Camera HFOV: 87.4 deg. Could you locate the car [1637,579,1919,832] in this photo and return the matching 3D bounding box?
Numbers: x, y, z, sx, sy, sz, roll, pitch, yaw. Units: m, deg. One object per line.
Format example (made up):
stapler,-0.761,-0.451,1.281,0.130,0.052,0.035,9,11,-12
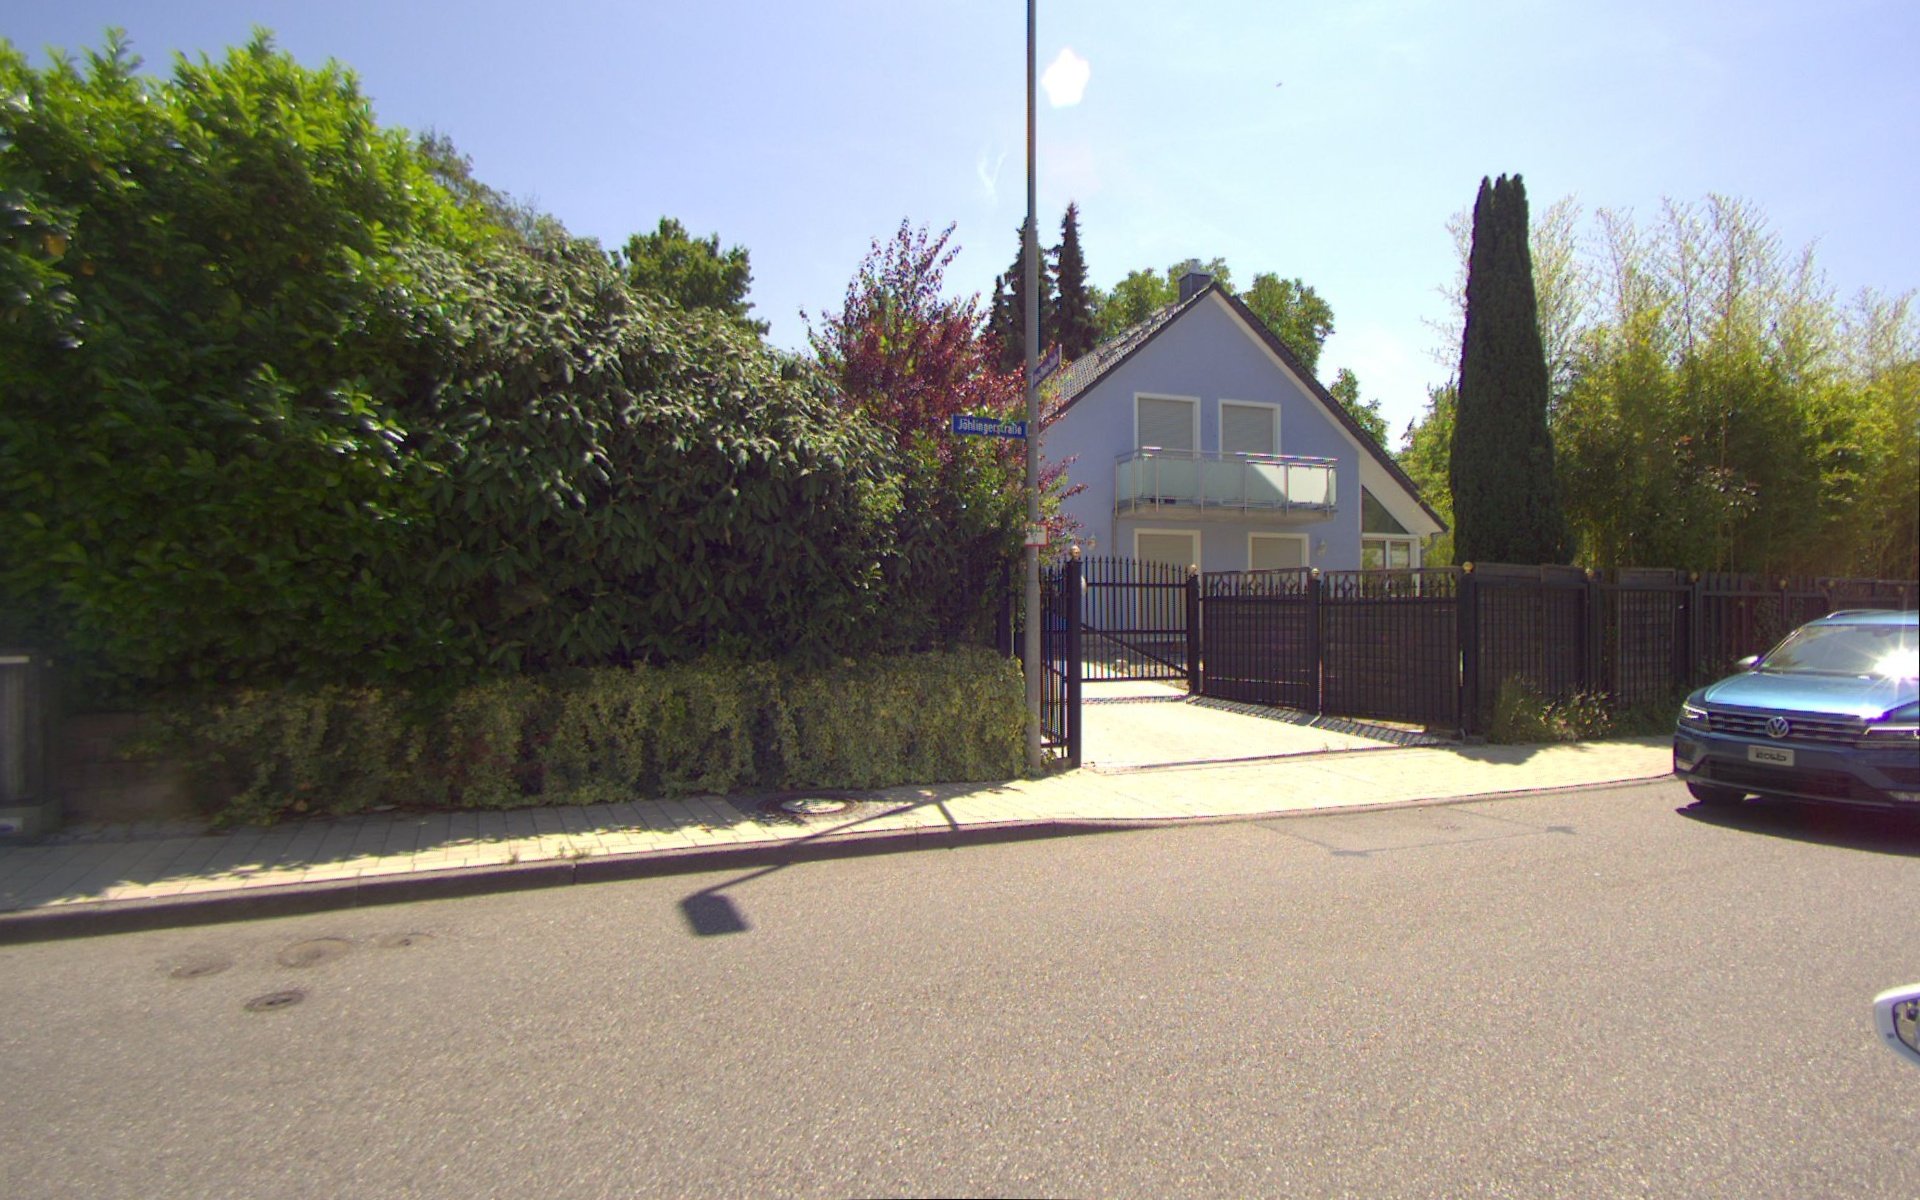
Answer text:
car,7.986,0.754,8.415,4.555,1.667,1.881,2,0,-28
